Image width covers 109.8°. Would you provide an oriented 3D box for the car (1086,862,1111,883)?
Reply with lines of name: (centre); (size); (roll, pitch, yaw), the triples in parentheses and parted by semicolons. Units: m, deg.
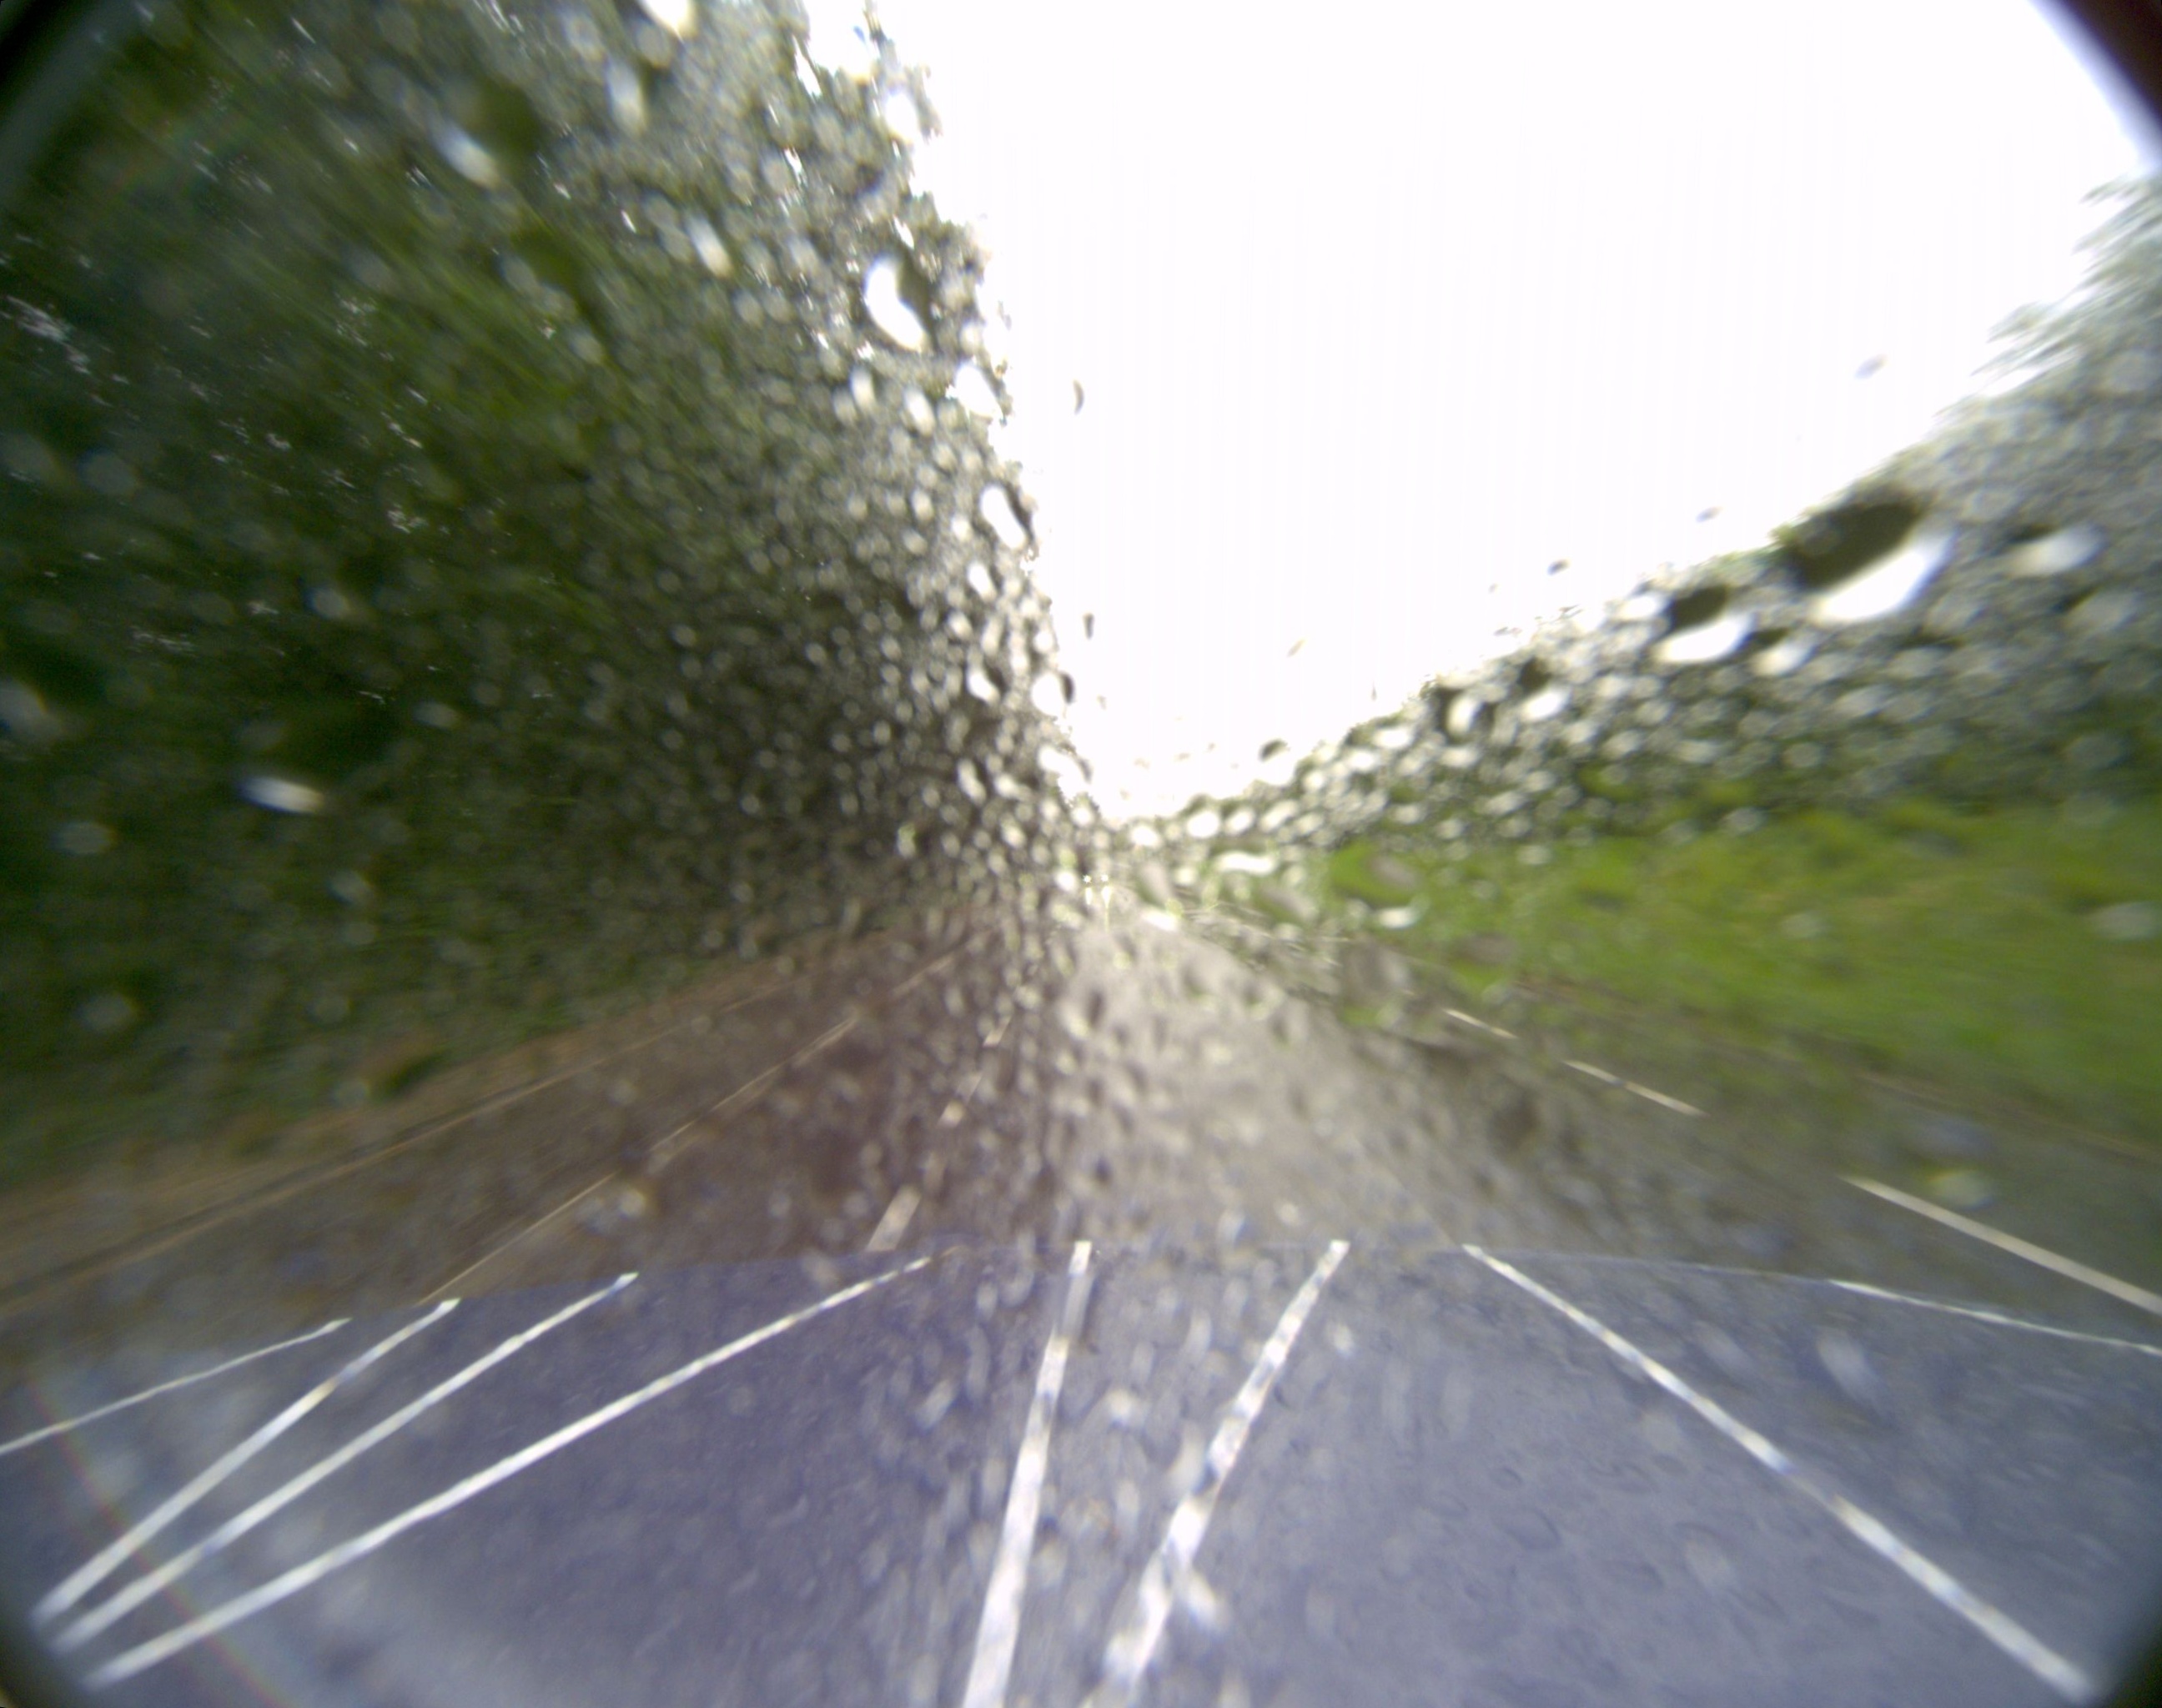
car: (1.472, 1.473, 62.148); (1.799, 1.543, 4.001); (-3, 0, 3)
